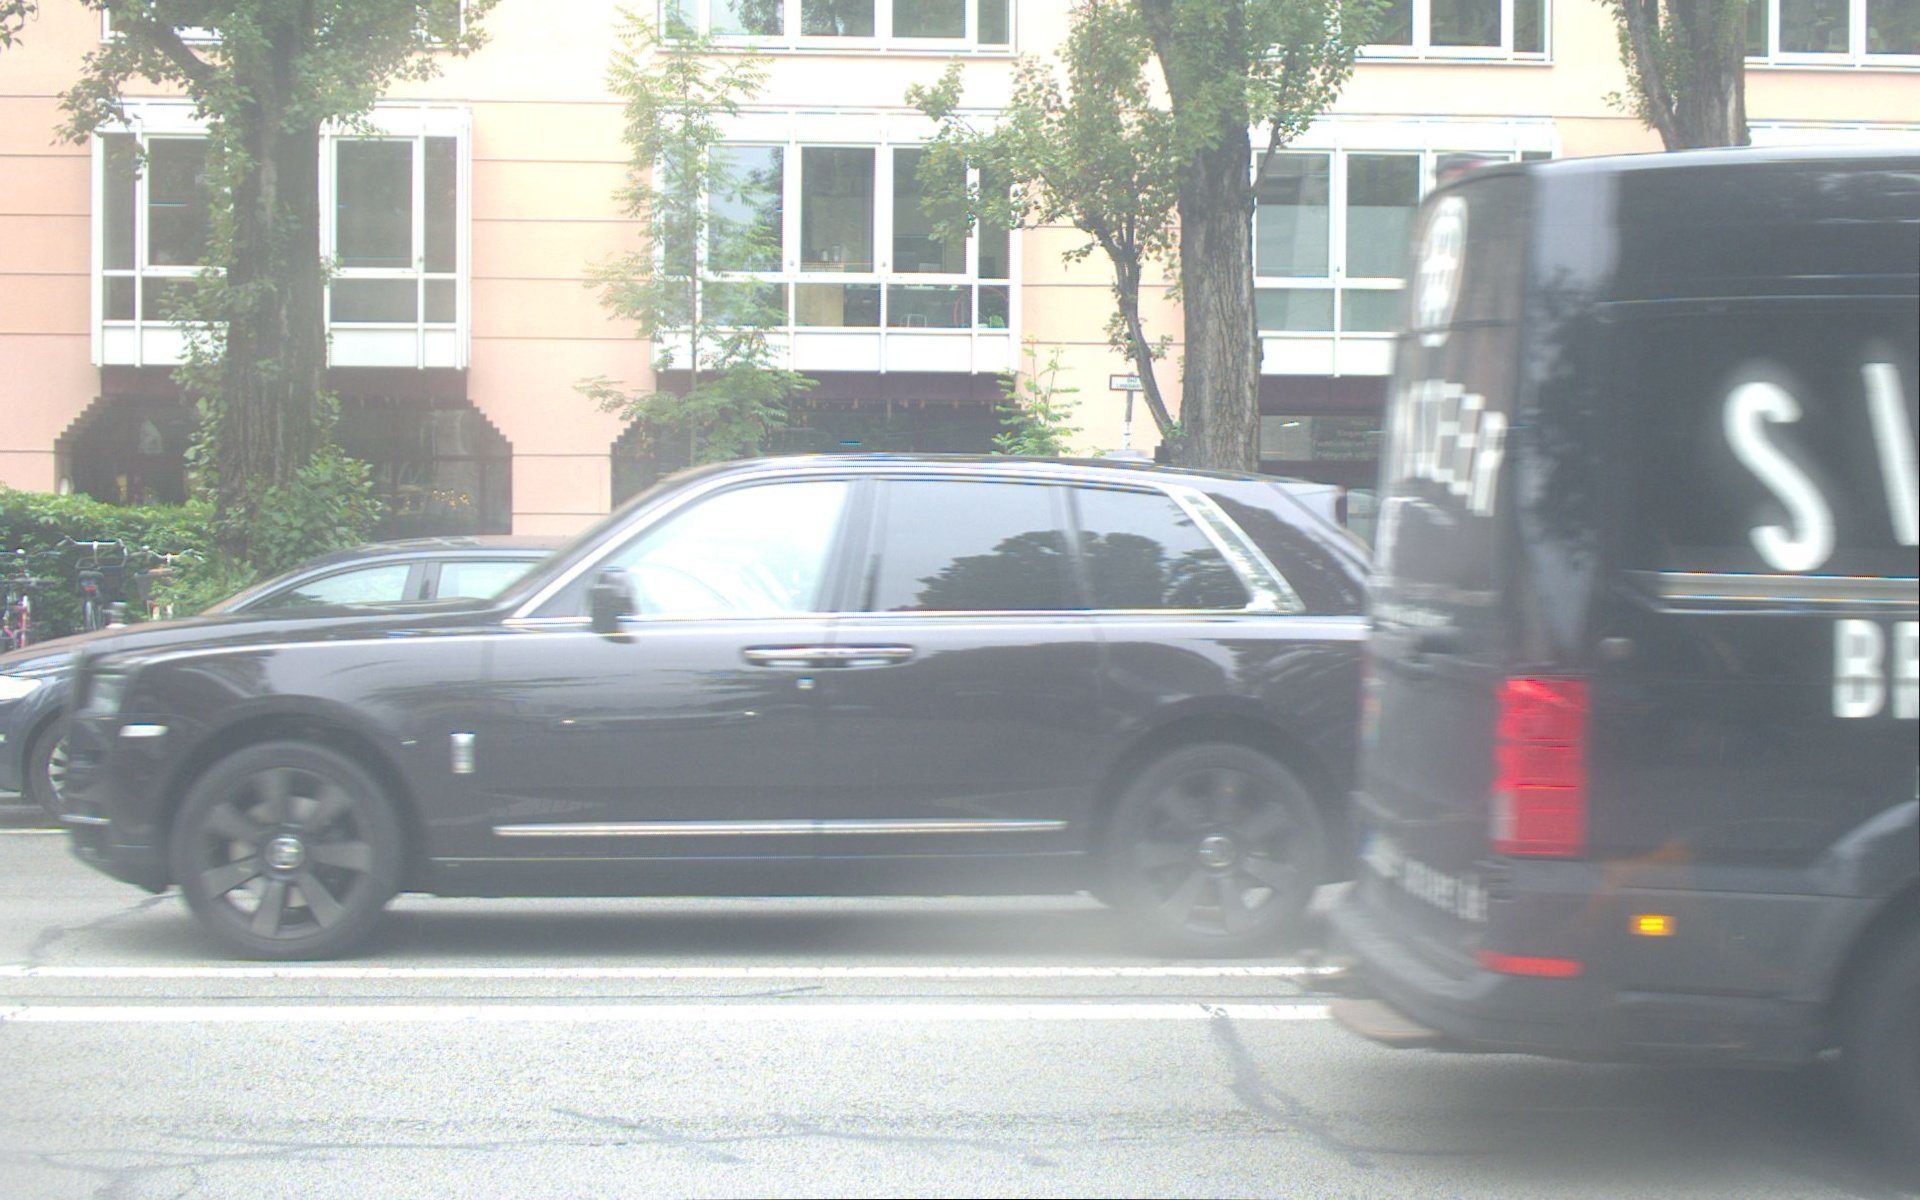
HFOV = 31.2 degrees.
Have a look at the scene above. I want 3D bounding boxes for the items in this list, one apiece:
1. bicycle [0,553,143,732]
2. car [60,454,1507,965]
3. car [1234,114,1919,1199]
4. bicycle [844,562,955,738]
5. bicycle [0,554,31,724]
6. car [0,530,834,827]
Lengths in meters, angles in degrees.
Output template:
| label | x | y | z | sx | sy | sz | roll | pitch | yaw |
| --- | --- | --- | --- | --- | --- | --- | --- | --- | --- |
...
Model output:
| label | x | y | z | sx | sy | sz | roll | pitch | yaw |
| --- | --- | --- | --- | --- | --- | --- | --- | --- | --- |
| bicycle | -5.999 | 0.259 | 23.082 | 0.674 | 1.120 | 1.989 | 0 | 2 | -4 |
| car | -0.667 | 0.390 | 12.997 | 5.046 | 1.743 | 2.000 | 0 | -1 | -6 |
| car | 3.834 | 0.124 | 9.115 | 5.911 | 2.547 | 2.083 | 0 | 3 | -5 |
| bicycle | -0.425 | 0.320 | 23.395 | 0.674 | 1.120 | 1.742 | 0 | 2 | -4 |
| bicycle | -6.769 | 0.269 | 23.023 | 0.674 | 1.120 | 1.989 | 0 | 2 | -4 |
| car | -3.031 | 0.397 | 18.881 | 4.607 | 1.523 | 1.794 | 0 | 2 | -4 |
